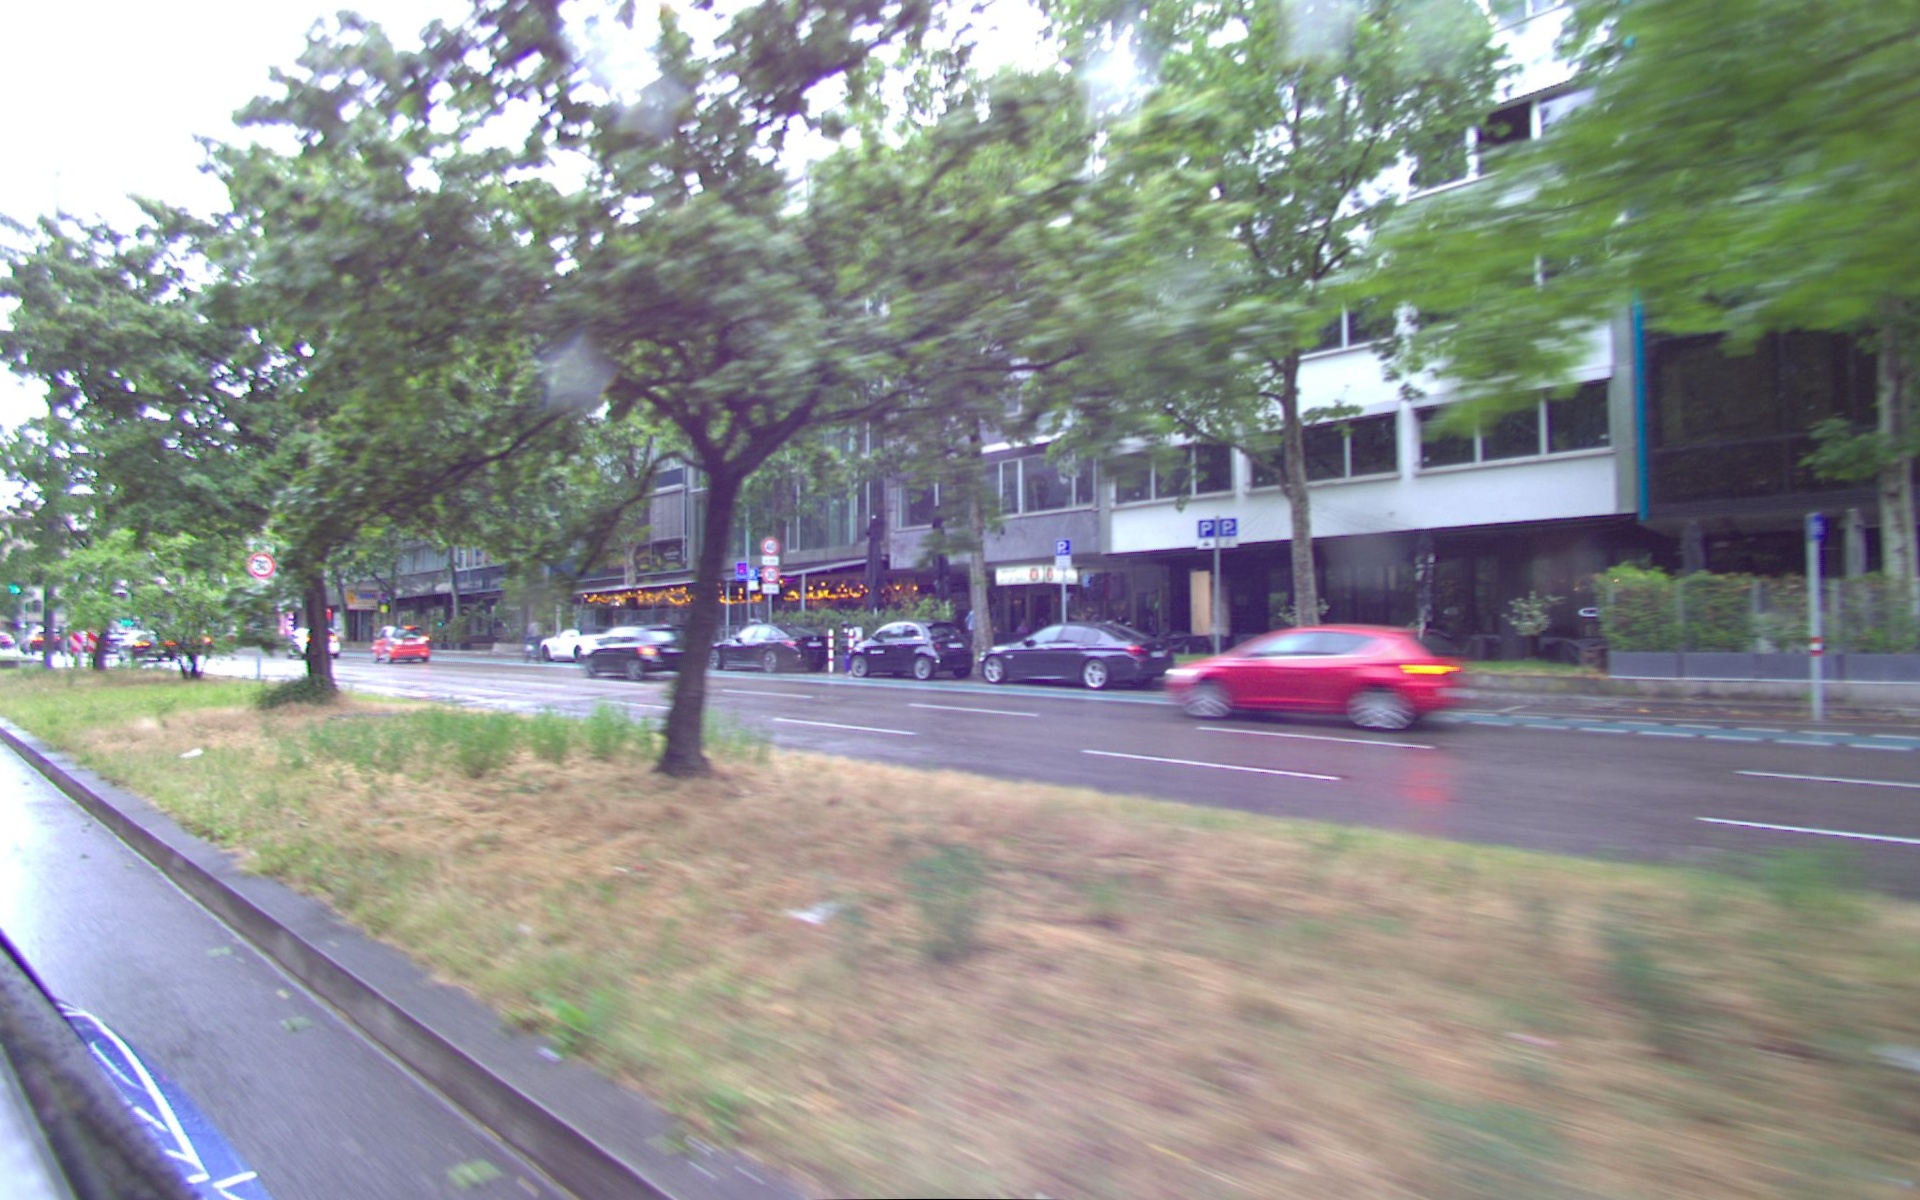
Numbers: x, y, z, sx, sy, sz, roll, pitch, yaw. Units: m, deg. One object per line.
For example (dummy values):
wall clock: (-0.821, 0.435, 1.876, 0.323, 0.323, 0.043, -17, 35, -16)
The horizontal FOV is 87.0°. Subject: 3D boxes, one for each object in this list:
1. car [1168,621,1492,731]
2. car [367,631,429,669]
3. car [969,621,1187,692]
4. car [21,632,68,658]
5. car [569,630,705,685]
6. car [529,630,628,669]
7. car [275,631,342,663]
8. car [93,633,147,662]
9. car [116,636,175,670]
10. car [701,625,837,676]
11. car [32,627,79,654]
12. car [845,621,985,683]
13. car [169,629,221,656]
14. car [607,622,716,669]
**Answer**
car: (5.324, 1.057, 14.935, 4.183, 1.404, 1.597, -3, -3, 42)
car: (-22.941, 2.019, 41.281, 2.732, 1.474, 1.477, -2, -3, 43)
car: (2.545, 1.253, 22.908, 4.906, 1.420, 1.674, -3, -3, 44)
car: (-65.792, 3.222, 72.718, 5.105, 1.780, 1.817, -3, -3, 40)
car: (-8.960, 1.558, 27.895, 3.999, 1.400, 1.824, -3, -3, 42)
car: (-14.563, 1.884, 38.494, 4.681, 1.364, 1.543, -3, -2, 42)
car: (-31.270, 2.264, 48.556, 3.642, 1.440, 1.824, -3, -3, 42)
car: (-46.096, 2.591, 55.506, 4.095, 1.487, 1.731, -2, -2, 42)
car: (-39.421, 2.523, 48.967, 4.097, 1.487, 1.729, -1, 0, 44)
car: (-5.830, 1.509, 30.598, 4.455, 1.420, 1.675, -3, -3, 42)
car: (-56.191, 2.527, 62.853, 4.831, 1.585, 1.716, -3, -3, 43)
car: (-1.203, 1.333, 26.292, 3.458, 1.480, 1.675, -3, -3, 42)
car: (-44.641, 2.455, 59.028, 4.095, 1.487, 1.730, -2, -2, 43)
car: (-10.327, 1.557, 34.893, 3.999, 1.519, 1.817, -3, -3, 42)
